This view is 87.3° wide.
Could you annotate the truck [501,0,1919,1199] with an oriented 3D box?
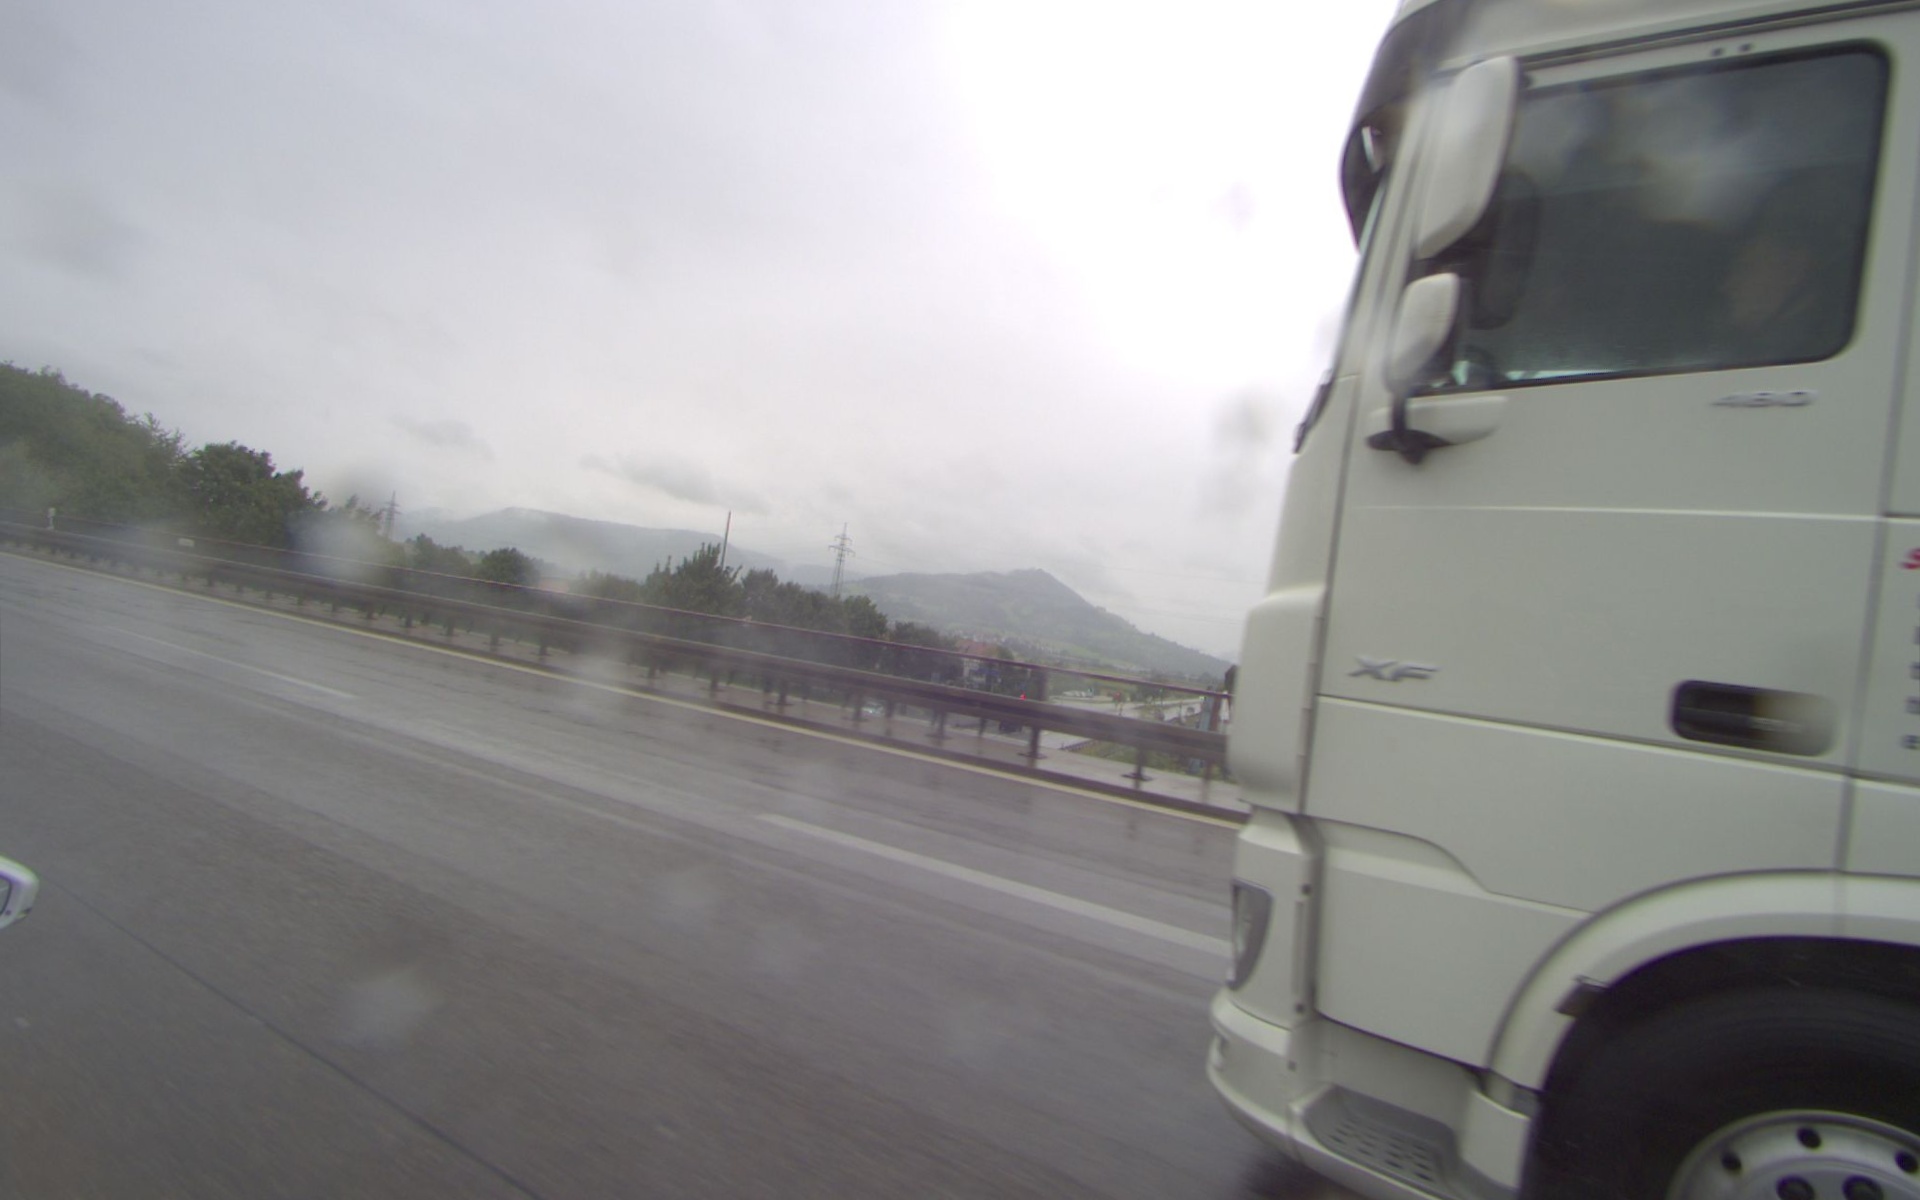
[{"bbox_3d":[2.254,-0.148,3.248,7.094,3.852,3.109,7,-1,33],"label":"truck"}]
